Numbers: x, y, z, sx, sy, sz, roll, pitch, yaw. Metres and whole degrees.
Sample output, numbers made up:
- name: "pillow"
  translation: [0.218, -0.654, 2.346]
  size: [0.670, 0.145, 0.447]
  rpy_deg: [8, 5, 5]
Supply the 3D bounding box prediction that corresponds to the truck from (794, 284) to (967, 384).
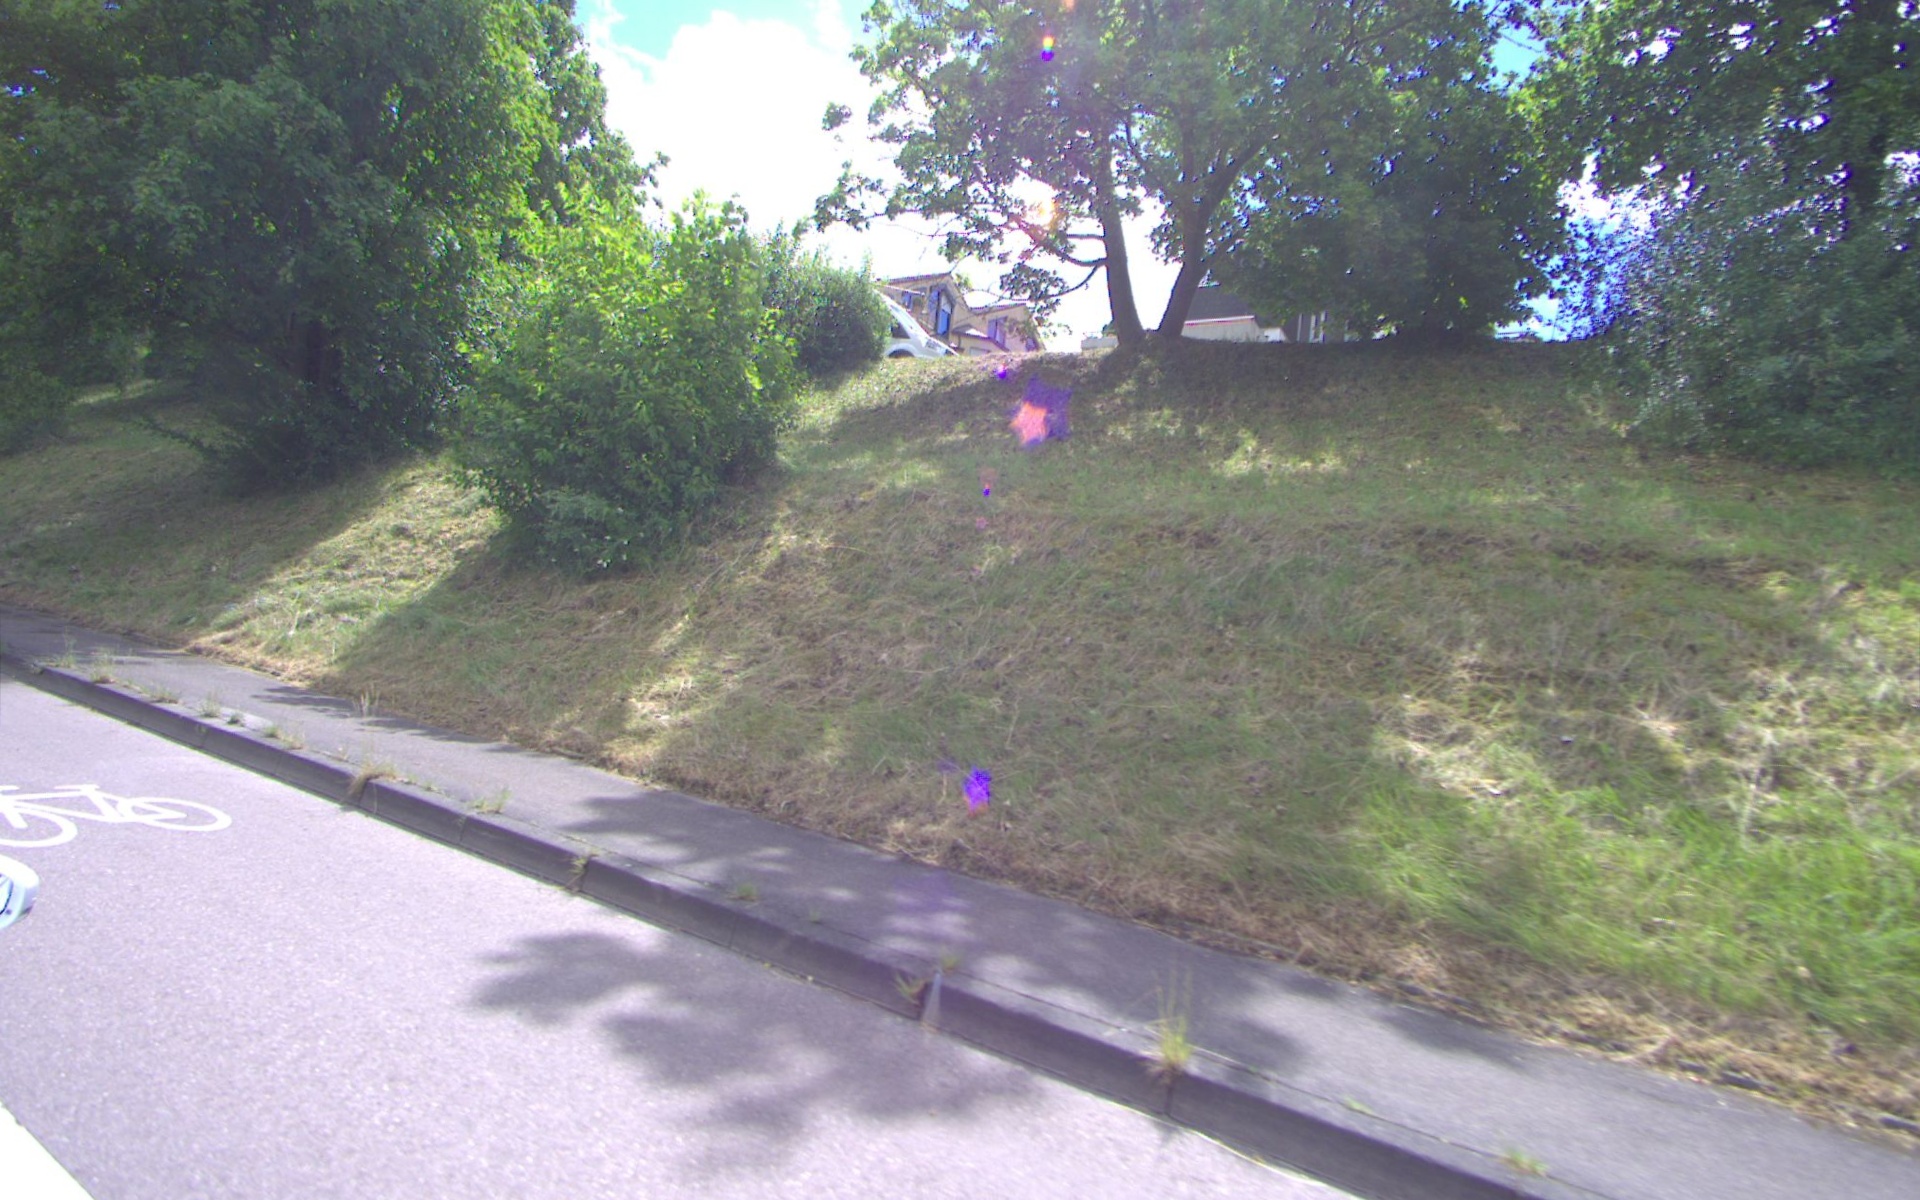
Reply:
- name: "truck"
  translation: [-1.985, -6.506, 24.855]
  size: [3.898, 1.963, 1.388]
  rpy_deg: [7, -1, 27]
